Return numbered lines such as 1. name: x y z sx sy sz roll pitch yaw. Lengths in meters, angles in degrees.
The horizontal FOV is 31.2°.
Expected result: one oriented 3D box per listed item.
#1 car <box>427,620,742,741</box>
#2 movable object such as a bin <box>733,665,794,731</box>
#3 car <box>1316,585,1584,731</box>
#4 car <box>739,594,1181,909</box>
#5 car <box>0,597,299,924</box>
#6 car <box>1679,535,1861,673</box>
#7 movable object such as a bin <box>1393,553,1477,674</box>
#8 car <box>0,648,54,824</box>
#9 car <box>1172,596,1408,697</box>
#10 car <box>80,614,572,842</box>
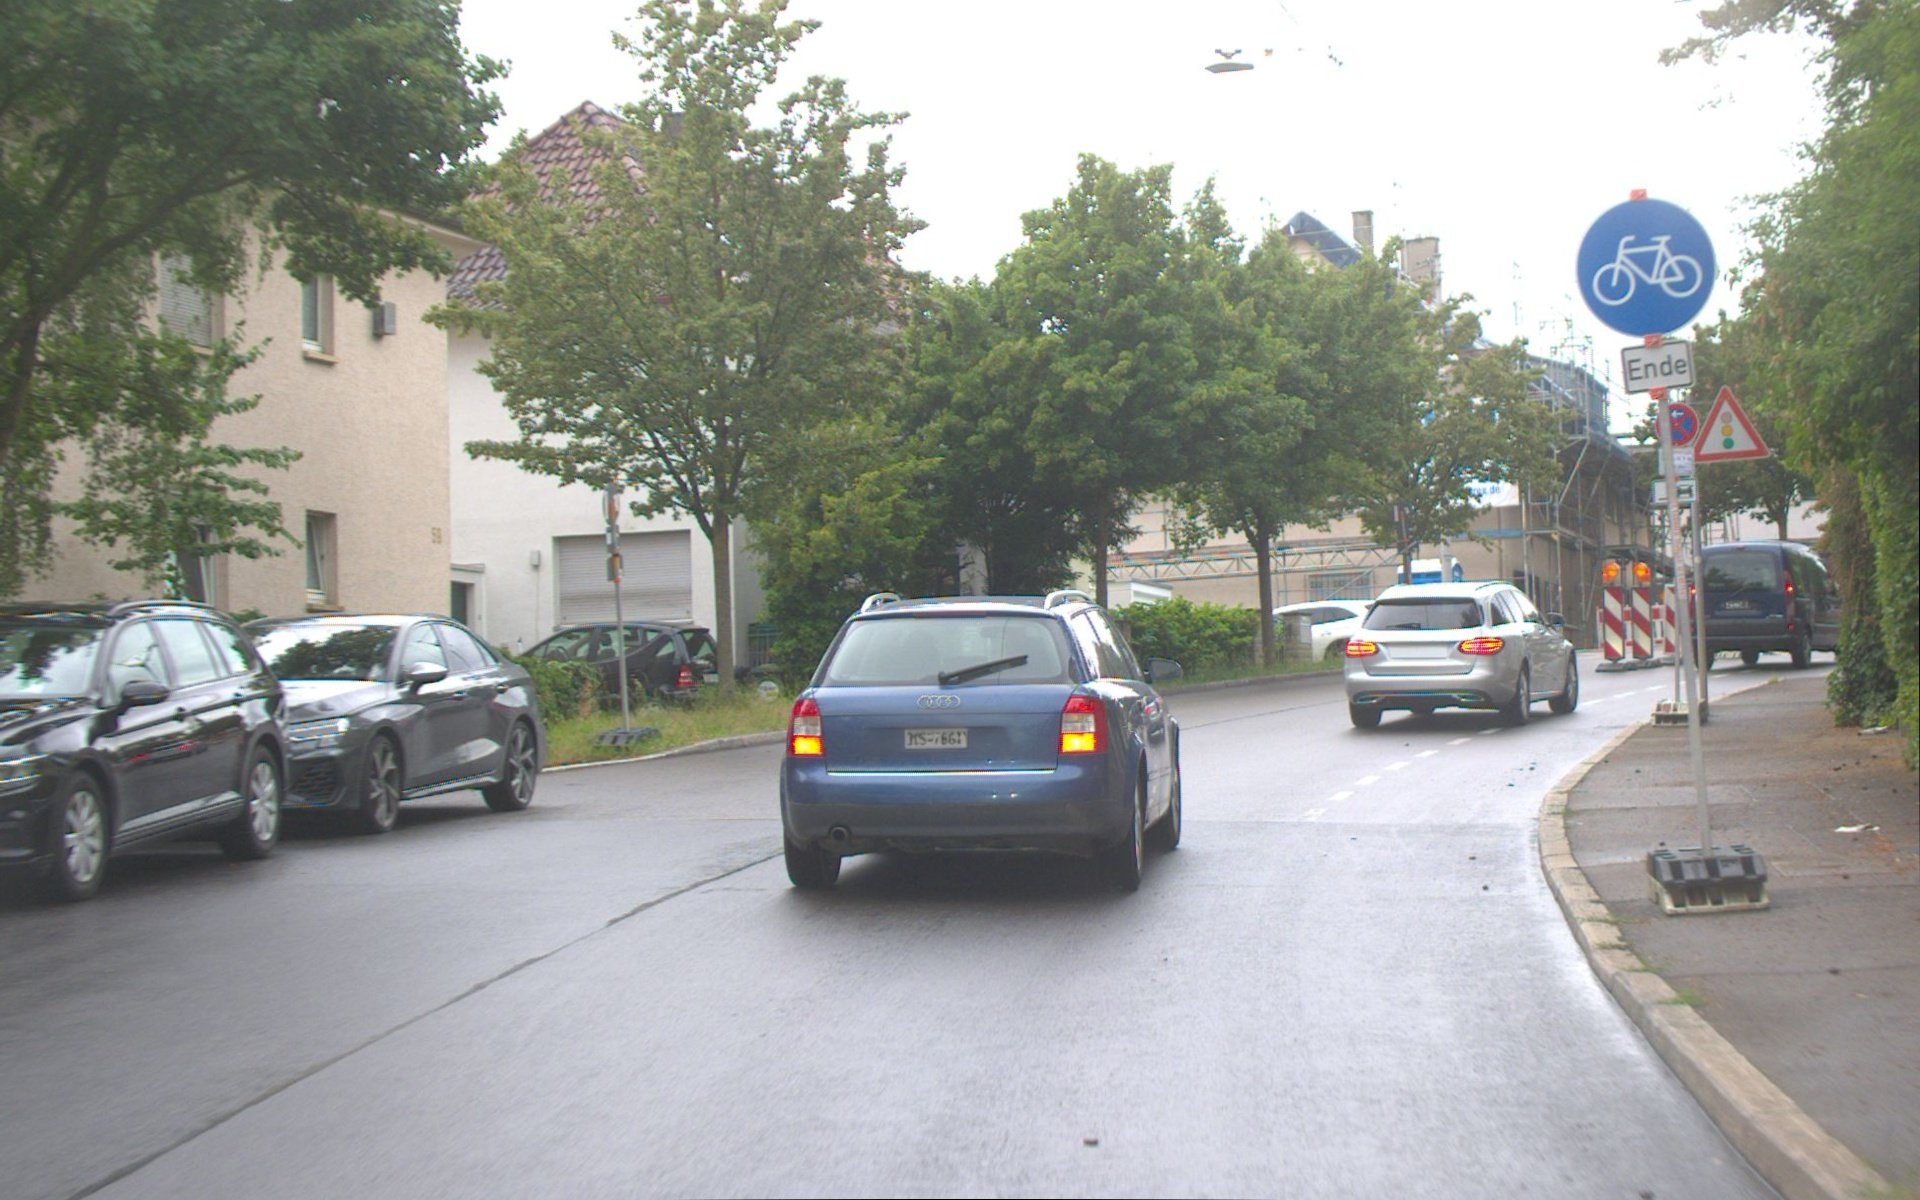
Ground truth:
1. car: -5.219 1.095 47.850 3.944 1.537 1.861 1 1 21
2. movable object such as a bin: -2.809 1.397 49.155 0.670 0.918 0.591 -1 0 21
3. car: 5.184 0.570 35.912 1.910 1.384 4.346 -2 0 19
4. car: 0.119 0.709 17.766 1.777 1.434 3.999 -1 0 7
5. car: -4.963 0.741 17.821 1.733 1.479 4.529 -1 0 6
6. car: 11.882 0.050 50.246 1.733 1.888 4.050 -2 0 25
7. movable object such as a bin: 10.210 0.282 73.926 1.314 2.497 1.384 -4 -1 24
8. car: -10.425 1.511 30.365 4.243 1.500 1.912 -10 -3 22
9. car: 6.634 0.935 69.076 4.201 1.599 1.948 -6 -3 23
10. car: -4.153 0.795 23.314 1.707 1.378 4.528 -1 0 12
